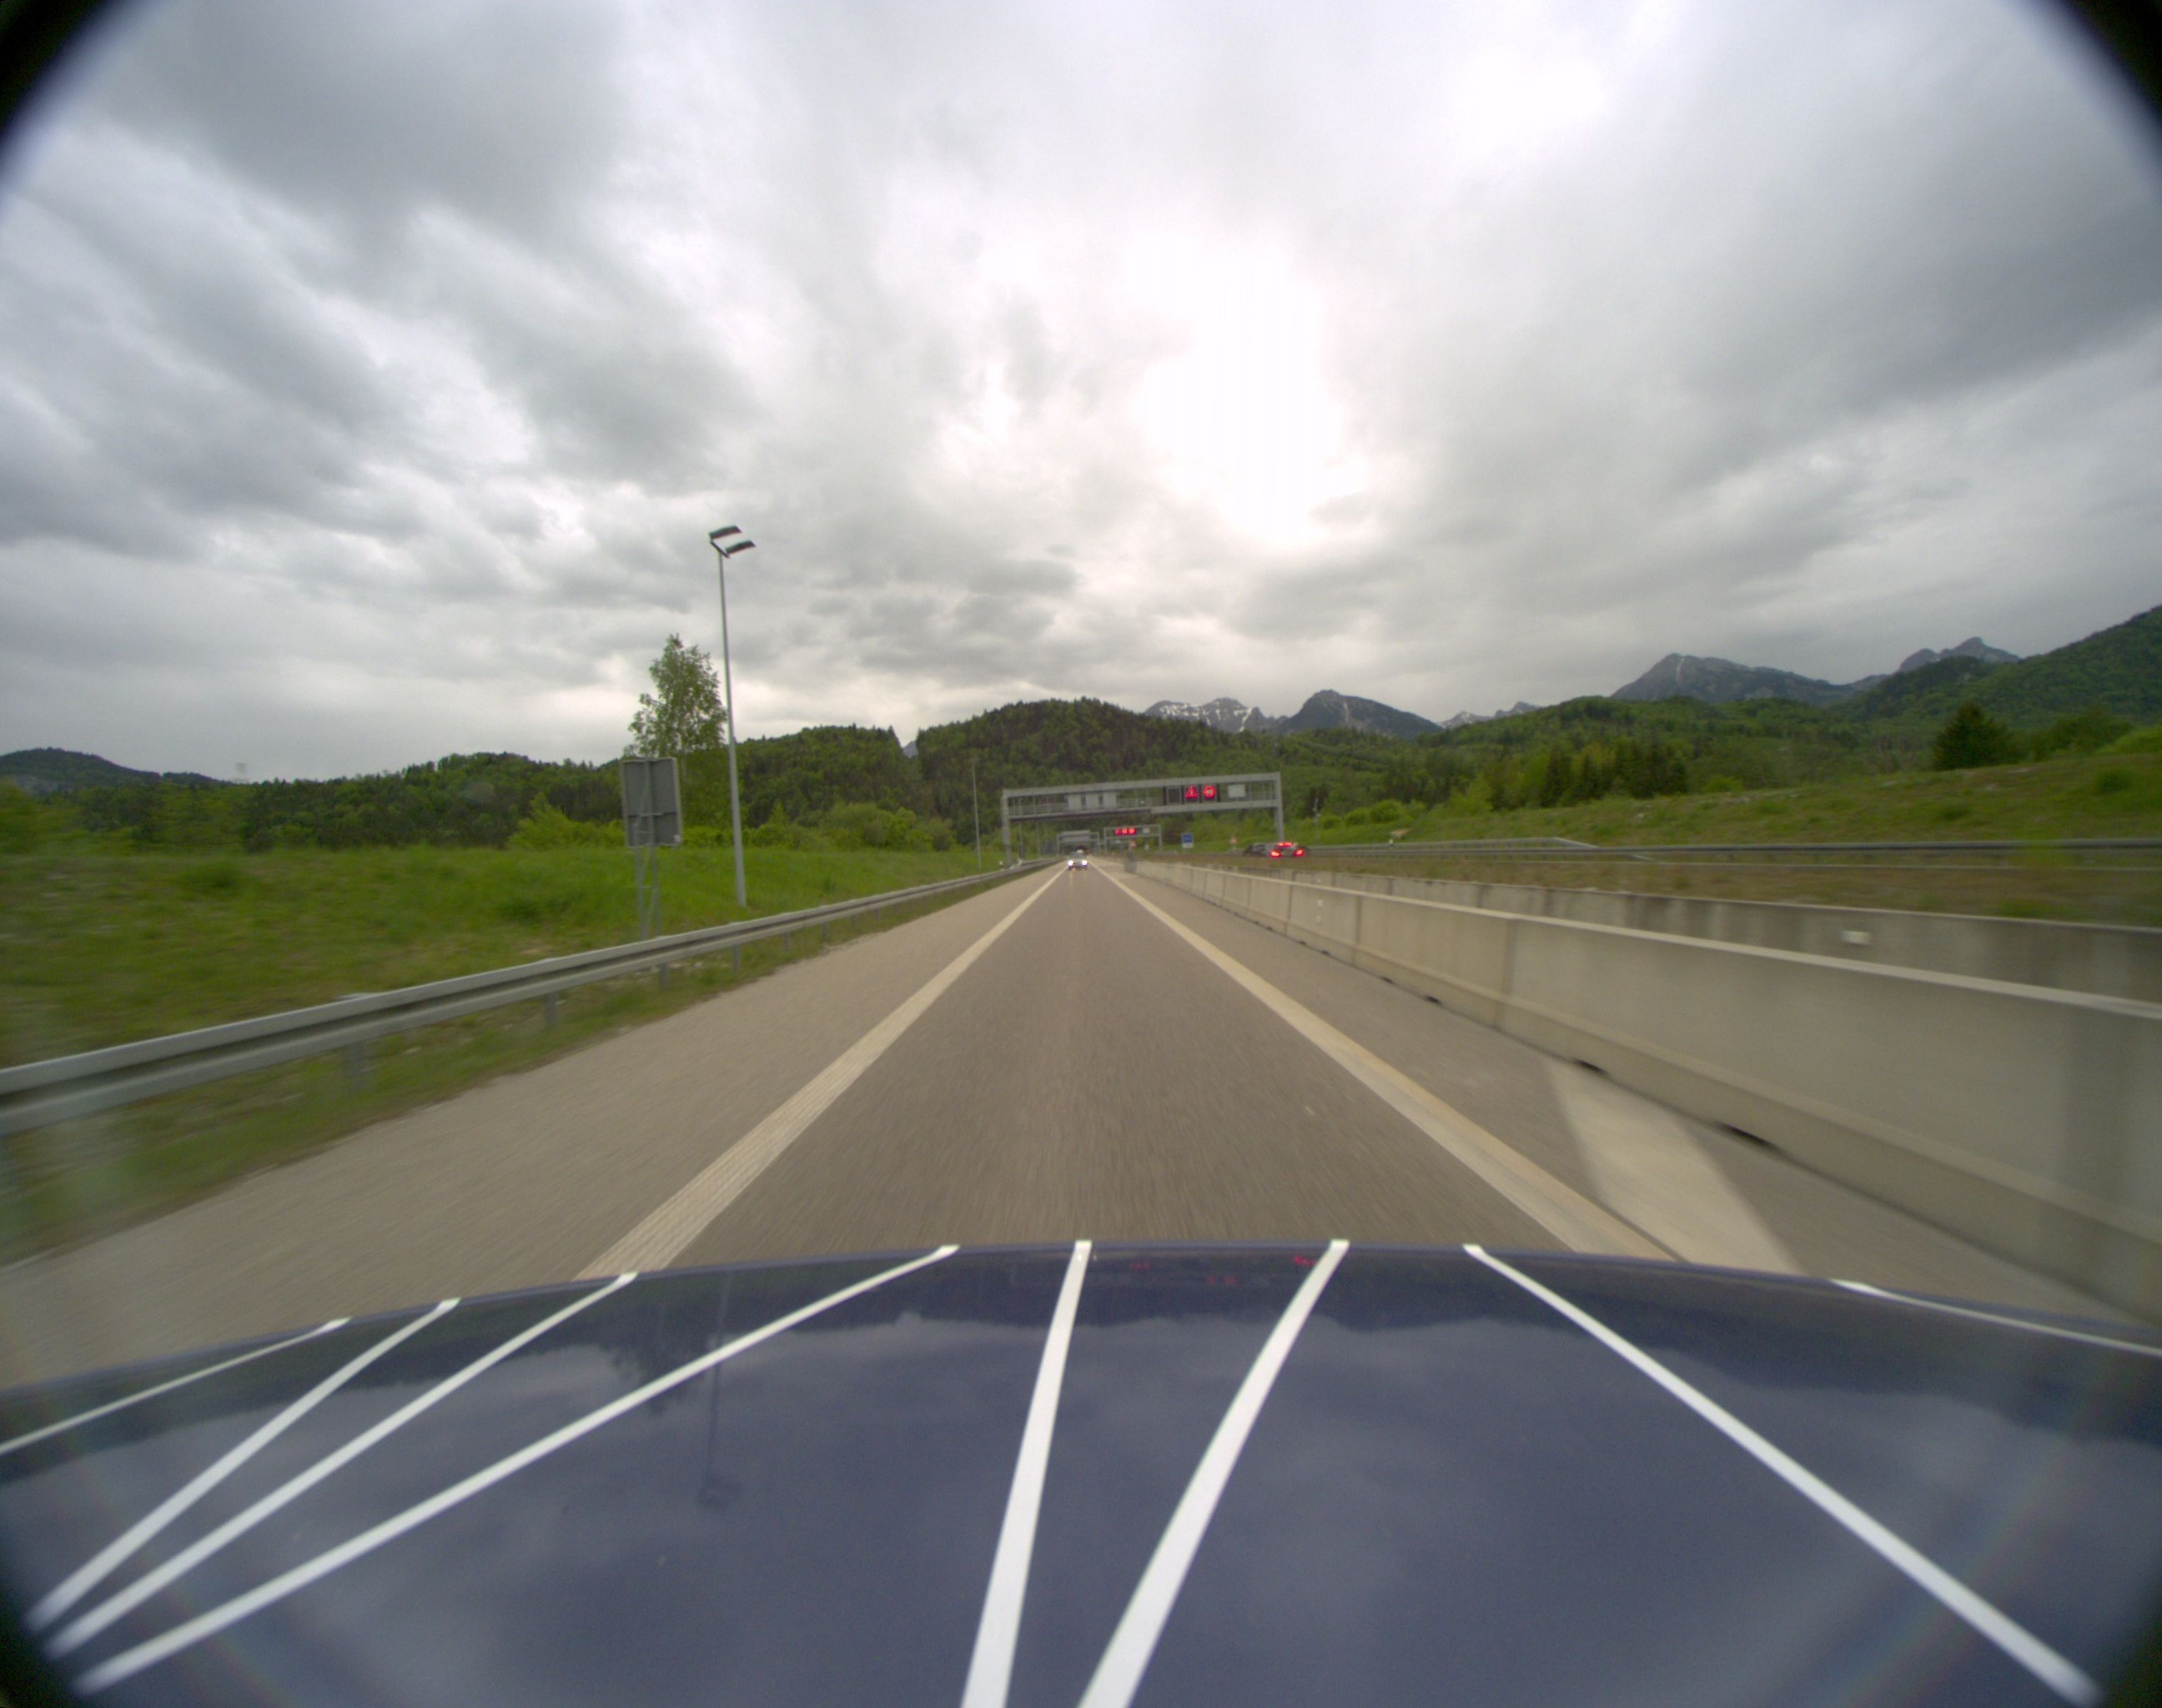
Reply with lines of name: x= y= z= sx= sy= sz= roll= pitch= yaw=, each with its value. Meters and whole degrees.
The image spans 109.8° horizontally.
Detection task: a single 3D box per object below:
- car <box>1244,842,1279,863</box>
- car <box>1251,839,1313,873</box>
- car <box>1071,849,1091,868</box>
car: x=14.666 y=-0.118 z=61.973 sx=1.773 sy=1.598 sz=4.405 roll=-3 pitch=0 yaw=0
car: x=11.315 y=0.082 z=43.192 sx=1.883 sy=1.726 sz=5.751 roll=-3 pitch=0 yaw=0
car: x=0.007 y=0.414 z=80.621 sx=1.923 sy=1.871 sz=5.137 roll=-1 pitch=1 yaw=0
